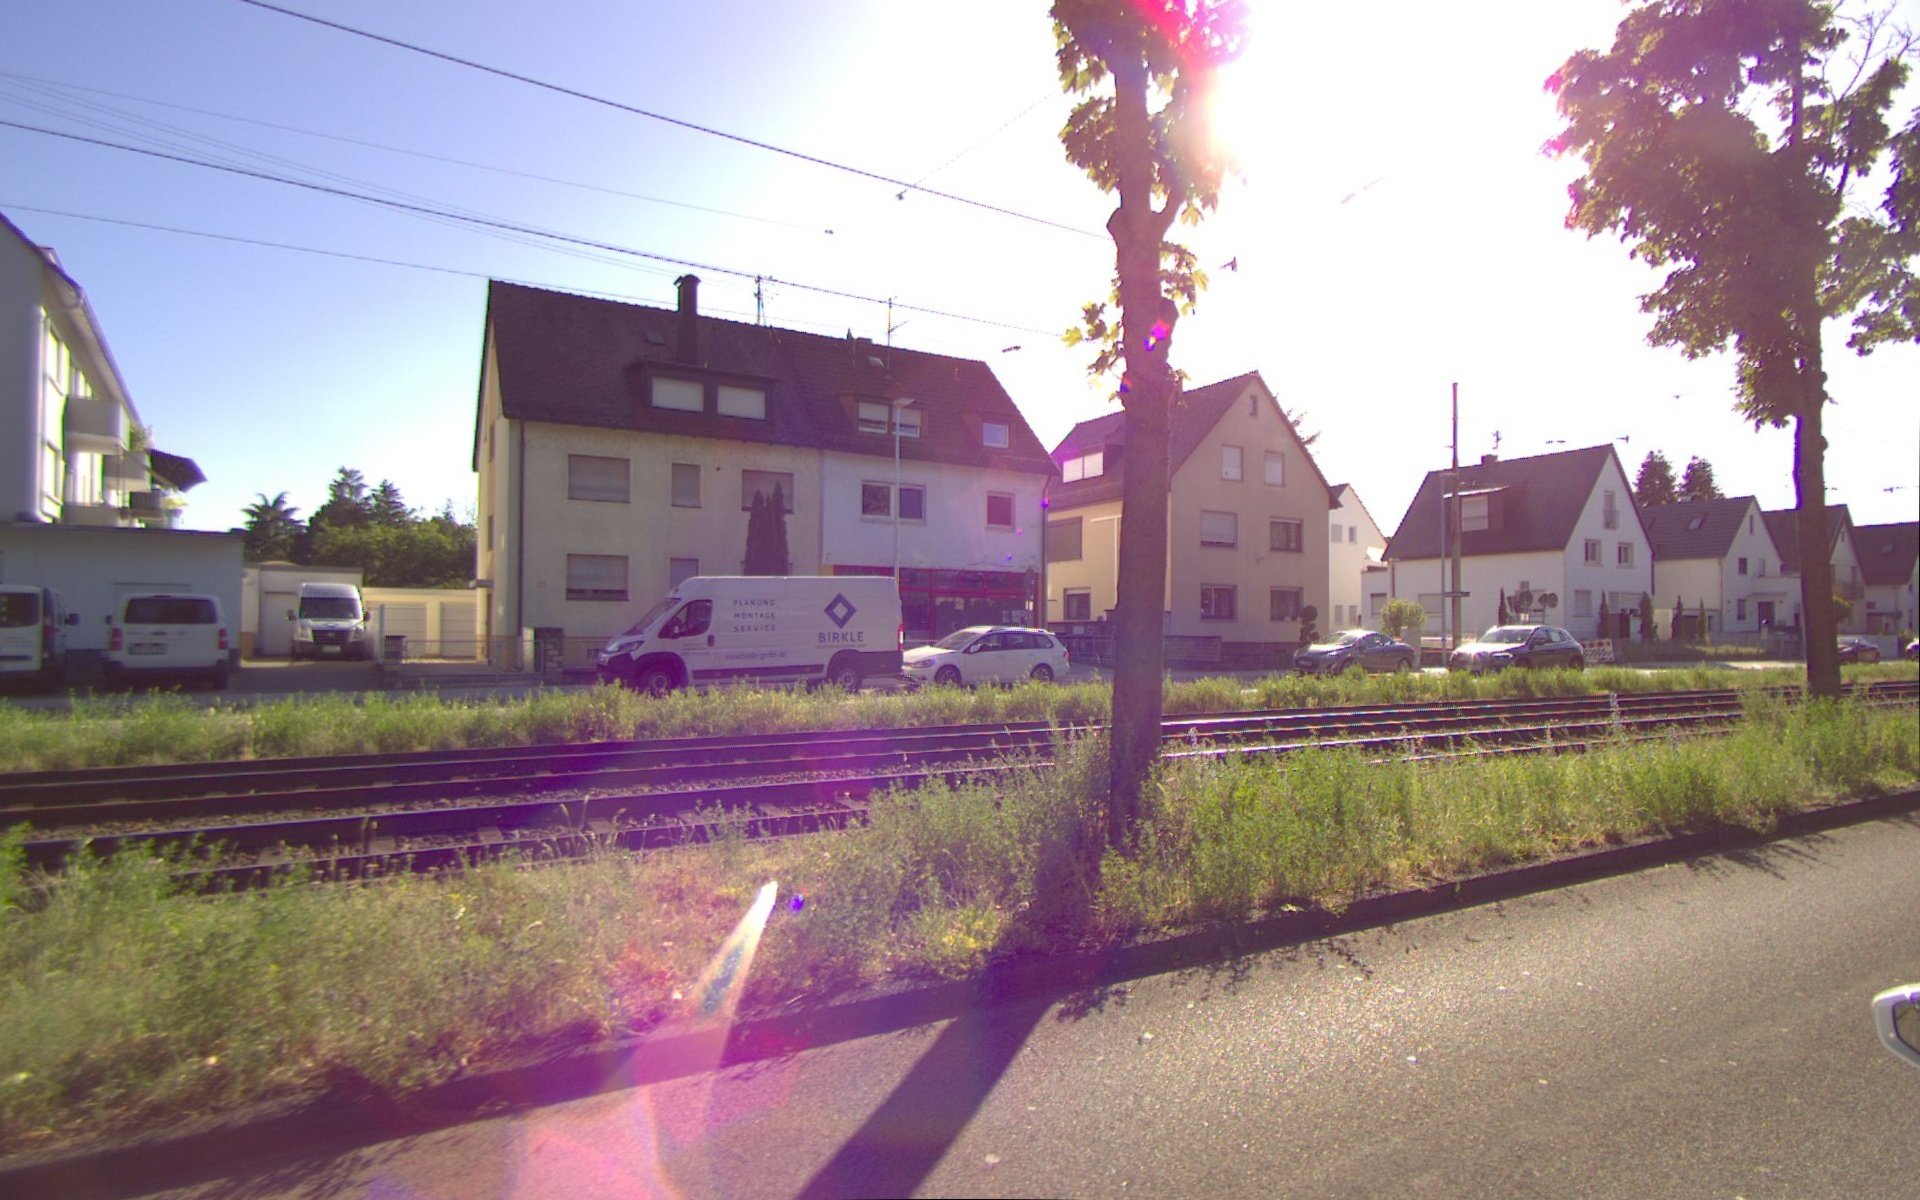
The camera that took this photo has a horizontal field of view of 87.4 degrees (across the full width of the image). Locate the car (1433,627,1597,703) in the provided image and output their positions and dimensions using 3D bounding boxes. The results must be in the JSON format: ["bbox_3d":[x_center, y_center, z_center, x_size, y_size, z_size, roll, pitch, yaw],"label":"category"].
[{"bbox_3d":[15.336,1.746,27.724,4.469,1.908,1.907,2,-1,-29],"label":"car"}]

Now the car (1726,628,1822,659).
[{"bbox_3d":[47.587,2.528,58.795,1.979,1.691,3.963,2,-1,-33],"label":"car"}]

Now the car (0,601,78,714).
[{"bbox_3d":[-18.259,1.035,19.173,1.984,1.971,4.579,2,-2,-40],"label":"car"}]

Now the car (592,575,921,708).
[{"bbox_3d":[-4.197,0.873,21.407,6.598,2.492,1.984,2,-1,-31],"label":"car"}]

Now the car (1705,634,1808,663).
[{"bbox_3d":[44.694,2.678,56.454,1.917,1.483,4.188,2,-1,-33],"label":"car"}]

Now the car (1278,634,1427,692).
[{"bbox_3d":[12.231,1.903,31.249,4.444,1.602,1.984,1,-1,-30],"label":"car"}]

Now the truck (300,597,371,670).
[{"bbox_3d":[-21.113,1.097,33.907,1.850,2.320,3.962,2,-1,-34],"label":"truck"}]

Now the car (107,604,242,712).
[{"bbox_3d":[-16.226,1.129,20.708,1.984,1.978,4.103,1,-2,-40],"label":"car"}]

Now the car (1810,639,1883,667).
[{"bbox_3d":[44.453,2.657,50.352,3.951,1.343,1.487,2,-1,-29],"label":"car"}]

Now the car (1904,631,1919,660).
[{"bbox_3d":[54.901,2.593,56.294,4.332,1.589,1.637,2,-1,-29],"label":"car"}]

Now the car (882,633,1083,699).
[{"bbox_3d":[0.591,1.550,24.285,4.604,1.431,1.815,2,-1,-31],"label":"car"}]
